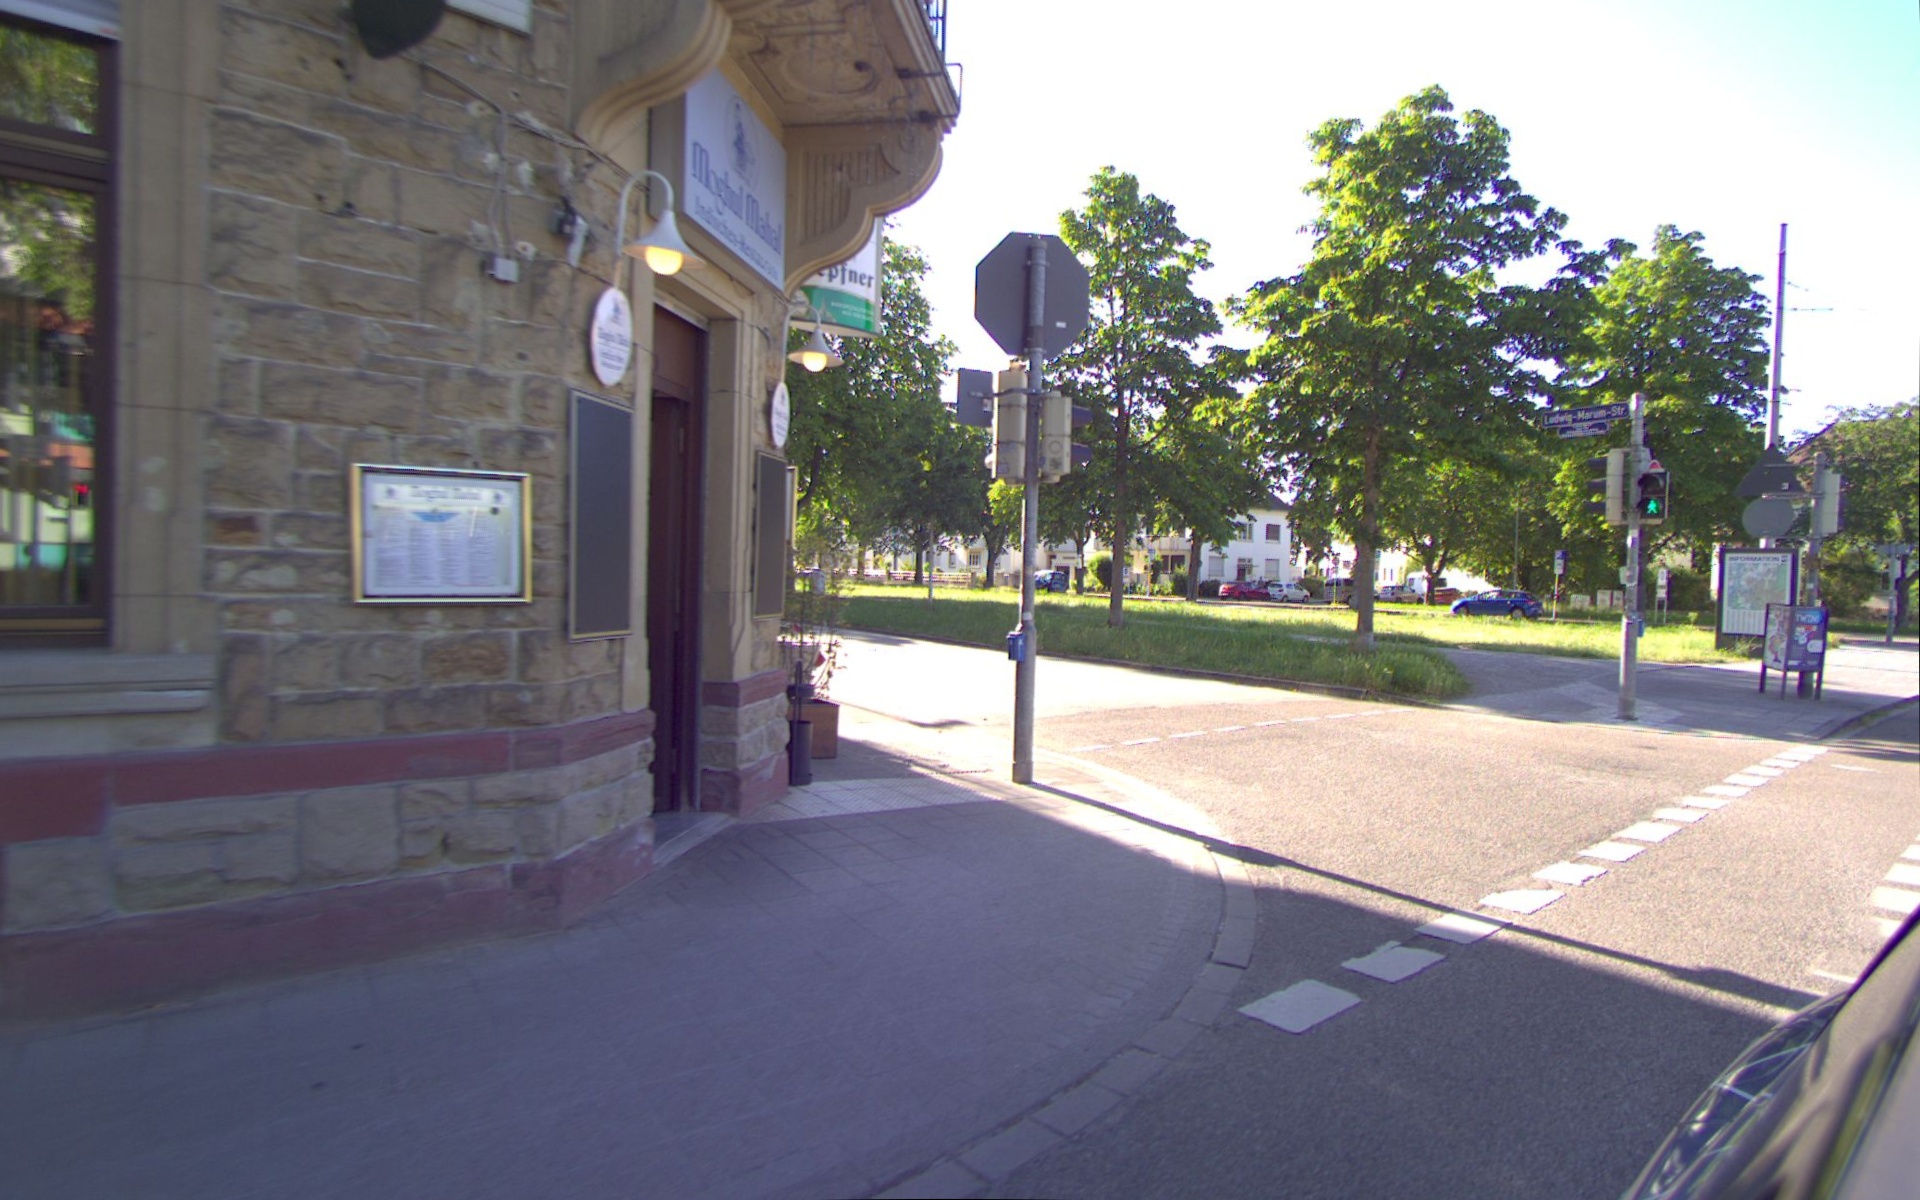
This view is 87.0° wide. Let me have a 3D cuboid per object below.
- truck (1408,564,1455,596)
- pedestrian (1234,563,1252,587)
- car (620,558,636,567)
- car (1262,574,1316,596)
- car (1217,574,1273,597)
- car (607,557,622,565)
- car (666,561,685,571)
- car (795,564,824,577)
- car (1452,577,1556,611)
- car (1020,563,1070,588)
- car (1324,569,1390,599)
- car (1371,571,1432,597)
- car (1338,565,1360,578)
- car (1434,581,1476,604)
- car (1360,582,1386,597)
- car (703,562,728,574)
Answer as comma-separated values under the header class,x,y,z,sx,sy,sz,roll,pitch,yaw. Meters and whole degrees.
class,x,y,z,sx,sy,sz,roll,pitch,yaw
truck,40.260,-1.719,86.489,1.965,2.607,4.975,2,2,5
pedestrian,21.582,-1.892,77.208,0.882,1.791,1.025,1,0,-33
car,-59.401,-6.665,181.070,1.790,1.451,4.003,1,2,-33
car,24.241,-1.126,74.470,3.821,1.489,1.760,1,2,-34
car,20.134,-1.042,71.450,3.821,1.489,1.760,1,2,-34
car,-67.309,-7.680,197.328,1.790,1.451,4.003,1,2,-33
car,-44.614,-5.383,158.847,1.790,1.451,4.003,1,2,-33
car,-17.208,-3.385,115.748,1.790,1.451,4.003,1,2,-33
car,25.882,-0.296,48.249,1.783,1.451,3.999,1,2,-37
car,6.519,-1.904,78.237,1.781,1.848,4.002,-1,1,-33
car,26.591,-1.044,67.742,4.256,1.858,1.925,1,2,-32
car,30.836,-1.126,70.671,3.636,1.668,1.927,1,2,-27
car,47.825,-3.524,124.488,1.731,1.489,3.885,2,2,10
car,36.452,-0.542,74.423,1.602,1.554,4.216,3,1,42
car,44.085,-1.157,108.203,1.731,1.489,3.885,2,2,10
car,-31.198,-4.117,129.101,1.790,1.451,4.003,1,2,-33
